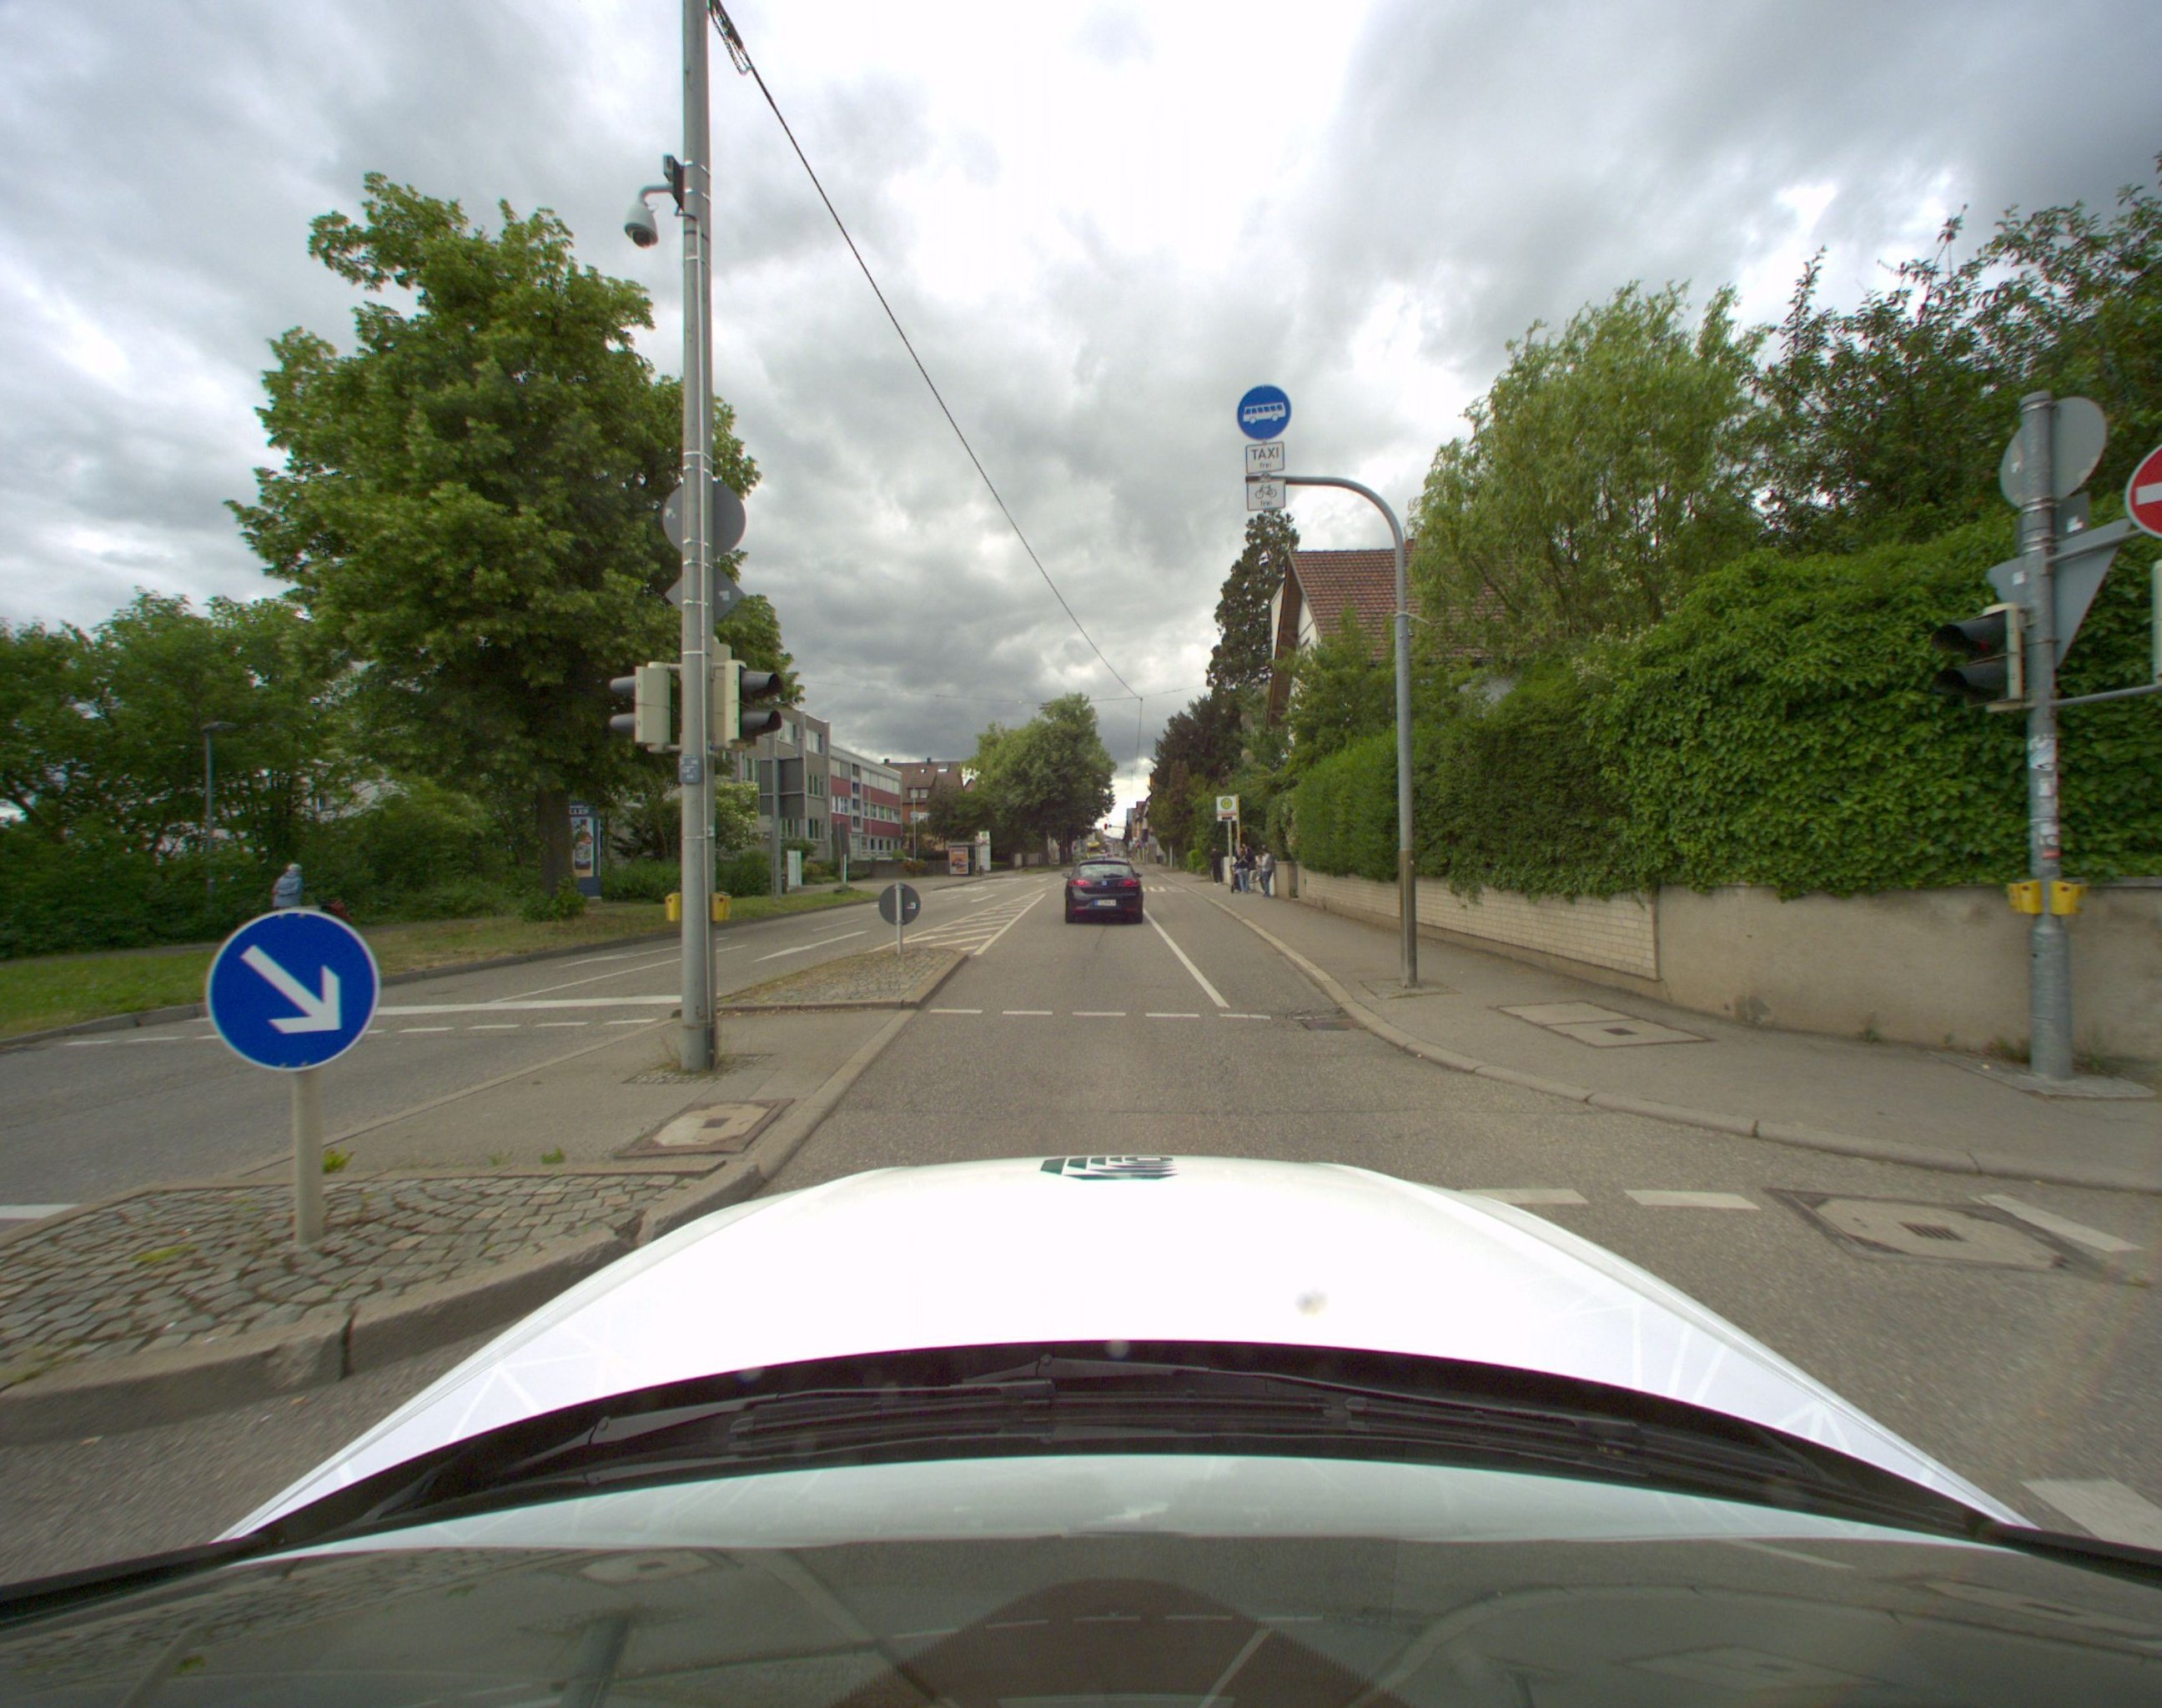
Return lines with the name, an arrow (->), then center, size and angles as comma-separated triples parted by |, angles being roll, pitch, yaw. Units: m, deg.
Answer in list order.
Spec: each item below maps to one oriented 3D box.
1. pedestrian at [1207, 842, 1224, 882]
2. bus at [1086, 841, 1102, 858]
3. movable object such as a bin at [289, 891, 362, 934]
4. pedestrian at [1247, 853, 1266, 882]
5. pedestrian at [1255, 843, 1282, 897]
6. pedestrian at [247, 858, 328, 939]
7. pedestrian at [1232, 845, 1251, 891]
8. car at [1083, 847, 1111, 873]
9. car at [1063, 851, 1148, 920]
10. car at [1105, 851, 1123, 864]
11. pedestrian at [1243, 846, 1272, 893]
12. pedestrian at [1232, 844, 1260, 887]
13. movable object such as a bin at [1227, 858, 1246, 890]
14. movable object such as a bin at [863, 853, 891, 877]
pedestrian -> 5.938, 0.335, 35.898 | 0.583, 1.711, 0.530 | -3, 0, 1
bus -> 2.531, -0.918, 154.491 | 2.858, 3.136, 6.399 | -2, 0, 1
movable object such as a bin -> -15.479, 1.186, 16.709 | 0.653, 0.798, 0.897 | -1, 0, -1
pedestrian -> 5.971, 0.460, 27.693 | 0.453, 0.964, 0.382 | -5, 0, -4
pedestrian -> 5.630, 0.470, 24.522 | 0.543, 1.555, 0.470 | -5, 0, -7
pedestrian -> -15.482, 0.840, 15.915 | 0.653, 1.522, 0.923 | -1, 0, -1
pedestrian -> 5.435, 0.457, 27.572 | 0.546, 1.517, 0.362 | -4, 1, 11
car -> 1.211, 0.383, 58.563 | 1.811, 1.699, 4.257 | -2, 0, 3
car -> 0.476, 0.661, 19.030 | 1.754, 1.448, 3.712 | 1, 0, -2
car -> 3.964, 0.384, 97.824 | 1.935, 1.481, 4.252 | -2, 0, 0
pedestrian -> 5.633, 0.491, 25.974 | 0.613, 1.427, 0.516 | -4, 1, 40
pedestrian -> 5.952, 0.413, 29.371 | 0.778, 1.500, 0.604 | -3, 0, -4
movable object such as a bin -> 5.431, 0.712, 28.468 | 0.436, 1.058, 0.572 | -4, 0, 28
movable object such as a bin -> -17.686, 0.941, 70.646 | 1.986, 2.013, 1.543 | -2, 0, 1
